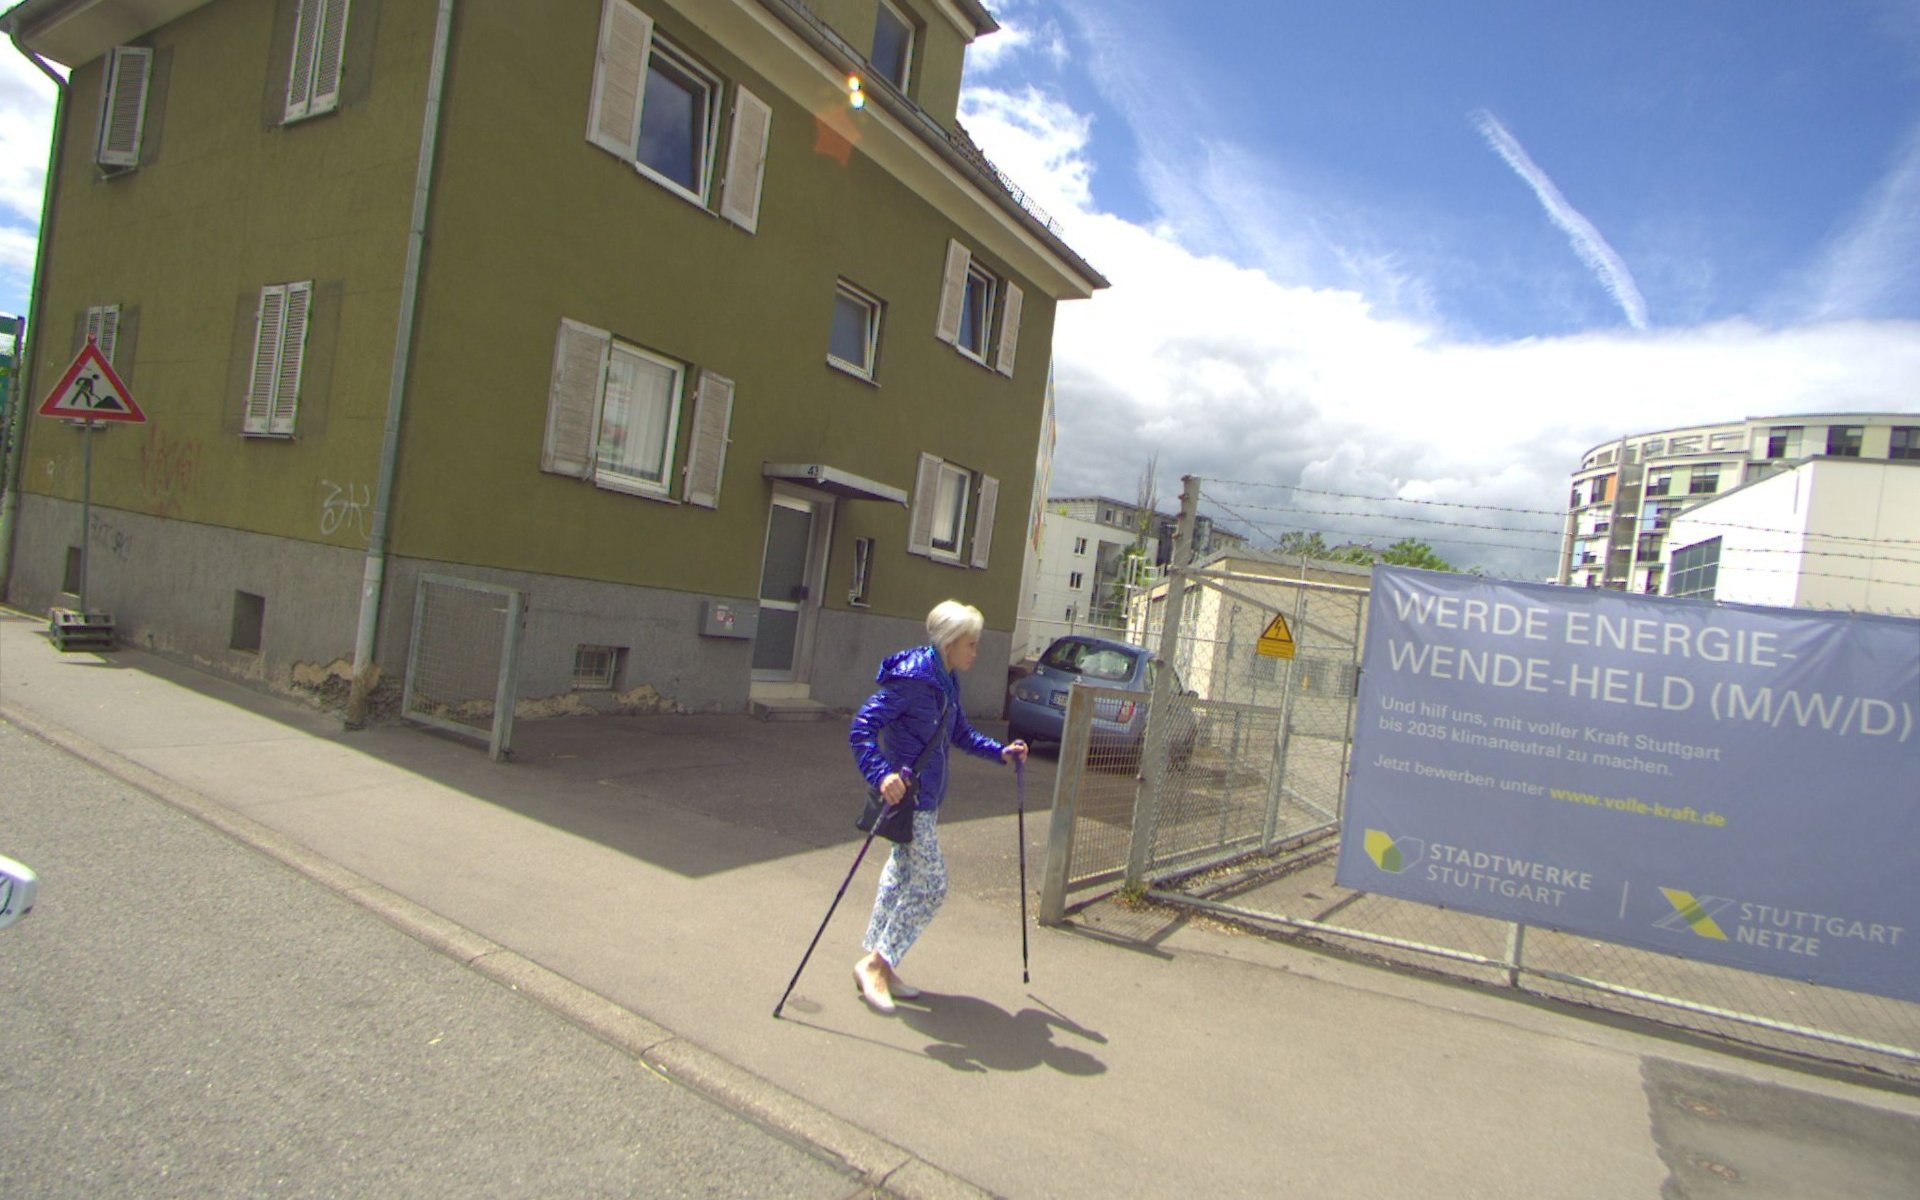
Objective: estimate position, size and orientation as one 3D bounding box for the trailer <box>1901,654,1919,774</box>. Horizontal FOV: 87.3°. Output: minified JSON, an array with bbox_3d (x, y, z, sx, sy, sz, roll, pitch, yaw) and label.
[{"bbox_3d":[35.391,4.197,30.924,8.895,3.907,2.606,7,-1,17],"label":"trailer"}]

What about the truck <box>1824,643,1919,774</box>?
[{"bbox_3d":[31.902,3.747,32.023,5.794,3.907,2.606,7,-1,17],"label":"truck"}]

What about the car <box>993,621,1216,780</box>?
[{"bbox_3d":[1.993,1.276,12.939,1.629,1.511,3.515,9,-1,27],"label":"car"}]

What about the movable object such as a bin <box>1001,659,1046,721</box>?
[{"bbox_3d":[1.048,1.483,16.551,0.445,0.930,0.482,7,-1,34],"label":"movable object such as a bin"}]

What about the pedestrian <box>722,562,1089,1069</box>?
[{"bbox_3d":[-0.189,0.726,3.887,0.971,1.592,0.825,7,1,28],"label":"pedestrian"}]
